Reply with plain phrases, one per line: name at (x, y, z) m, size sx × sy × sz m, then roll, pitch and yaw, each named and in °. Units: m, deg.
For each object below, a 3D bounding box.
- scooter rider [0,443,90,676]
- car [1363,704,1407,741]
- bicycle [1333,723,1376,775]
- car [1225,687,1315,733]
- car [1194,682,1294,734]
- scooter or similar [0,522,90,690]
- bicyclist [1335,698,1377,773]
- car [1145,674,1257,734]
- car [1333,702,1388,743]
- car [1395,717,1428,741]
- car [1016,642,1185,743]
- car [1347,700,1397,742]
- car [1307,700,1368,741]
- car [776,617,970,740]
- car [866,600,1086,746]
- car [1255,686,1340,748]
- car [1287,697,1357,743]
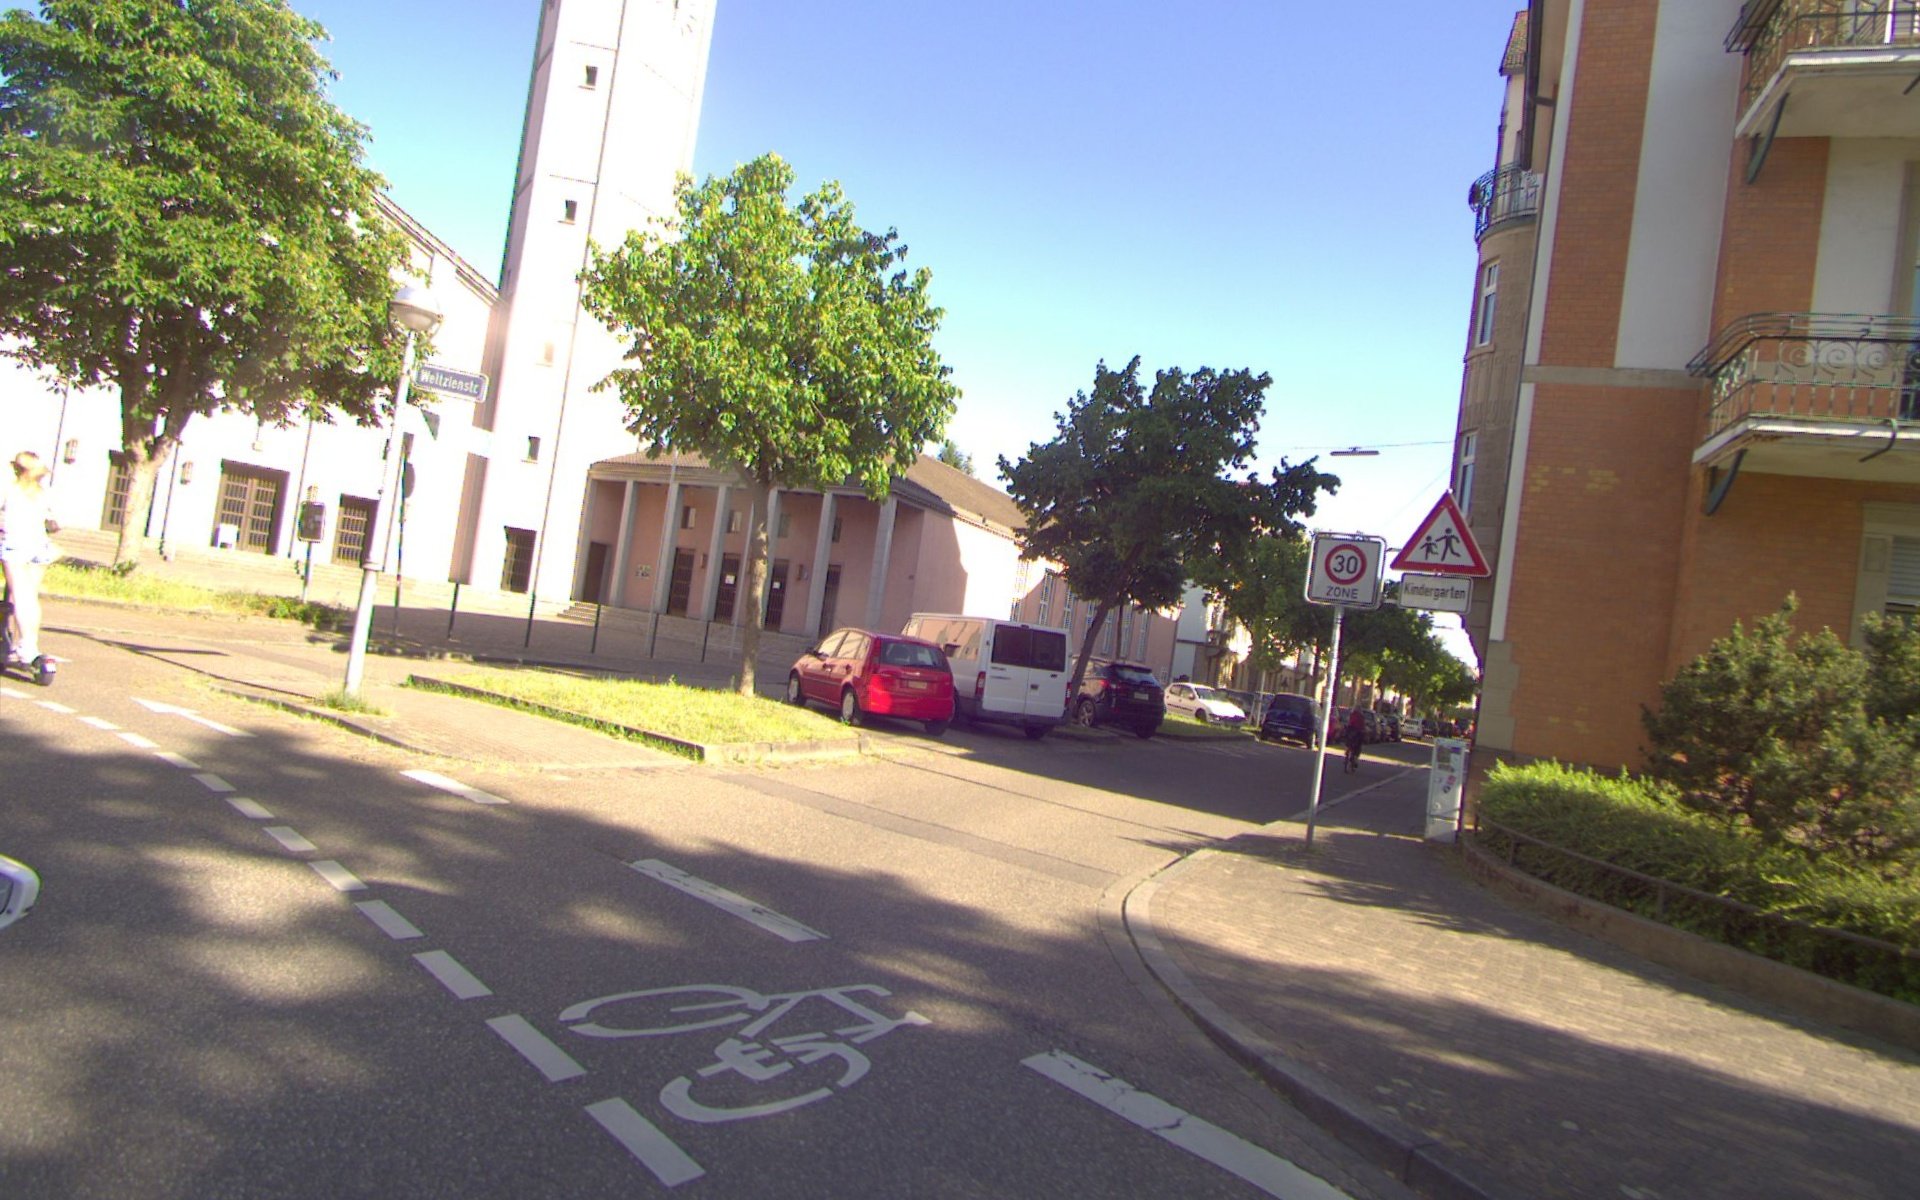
scooter rider at (-7.939, -0.342, 8.401) m, size 0.621 × 1.852 × 0.625 m, roll 8°, pitch -2°, yaw 28°
car at (25.305, 7.274, 59.800) m, size 1.732 × 1.860 × 3.952 m, roll 7°, pitch -3°, yaw 31°
bicycle at (9.597, 3.598, 24.441) m, size 0.686 × 1.120 × 1.873 m, roll 8°, pitch -3°, yaw 27°
car at (14.538, 5.173, 47.425) m, size 1.740 × 1.513 × 3.934 m, roll 9°, pitch -2°, yaw -24°
car at (11.742, 4.470, 41.911) m, size 1.740 × 1.513 × 3.934 m, roll 9°, pitch -2°, yaw -24°
scooter or similar at (-7.993, 0.015, 8.390) m, size 1.087 × 1.297 × 0.632 m, roll 7°, pitch -2°, yaw 28°
bicyclist at (9.603, 3.279, 24.377) m, size 0.686 × 1.680 × 0.650 m, roll 8°, pitch -2°, yaw 27°
car at (8.644, 3.713, 36.373) m, size 1.740 × 1.513 × 3.934 m, roll 9°, pitch -2°, yaw -24°
car at (19.466, 5.954, 48.753) m, size 1.732 × 1.635 × 3.953 m, roll 7°, pitch -3°, yaw 31°
car at (34.195, 9.760, 76.096) m, size 1.732 × 1.472 × 3.953 m, roll 7°, pitch -3°, yaw 31°
car at (3.205, 2.109, 23.669) m, size 1.743 × 1.758 × 3.927 m, roll 9°, pitch -2°, yaw -29°
car at (22.071, 6.484, 53.778) m, size 1.732 × 1.860 × 3.952 m, roll 7°, pitch -3°, yaw 31°
car at (16.759, 5.345, 44.596) m, size 1.732 × 1.472 × 3.953 m, roll 7°, pitch -3°, yaw 31°
car at (-1.529, 1.197, 16.358) m, size 1.652 × 1.451 × 3.670 m, roll 9°, pitch -2°, yaw -29°
car at (0.124, 1.244, 18.808) m, size 1.971 × 2.068 × 4.677 m, roll 9°, pitch -2°, yaw -26°
car at (11.228, 3.877, 33.327) m, size 1.732 × 1.676 × 3.952 m, roll 7°, pitch -3°, yaw 31°
car at (14.295, 4.733, 39.580) m, size 1.732 × 1.472 × 3.953 m, roll 7°, pitch -3°, yaw 31°
